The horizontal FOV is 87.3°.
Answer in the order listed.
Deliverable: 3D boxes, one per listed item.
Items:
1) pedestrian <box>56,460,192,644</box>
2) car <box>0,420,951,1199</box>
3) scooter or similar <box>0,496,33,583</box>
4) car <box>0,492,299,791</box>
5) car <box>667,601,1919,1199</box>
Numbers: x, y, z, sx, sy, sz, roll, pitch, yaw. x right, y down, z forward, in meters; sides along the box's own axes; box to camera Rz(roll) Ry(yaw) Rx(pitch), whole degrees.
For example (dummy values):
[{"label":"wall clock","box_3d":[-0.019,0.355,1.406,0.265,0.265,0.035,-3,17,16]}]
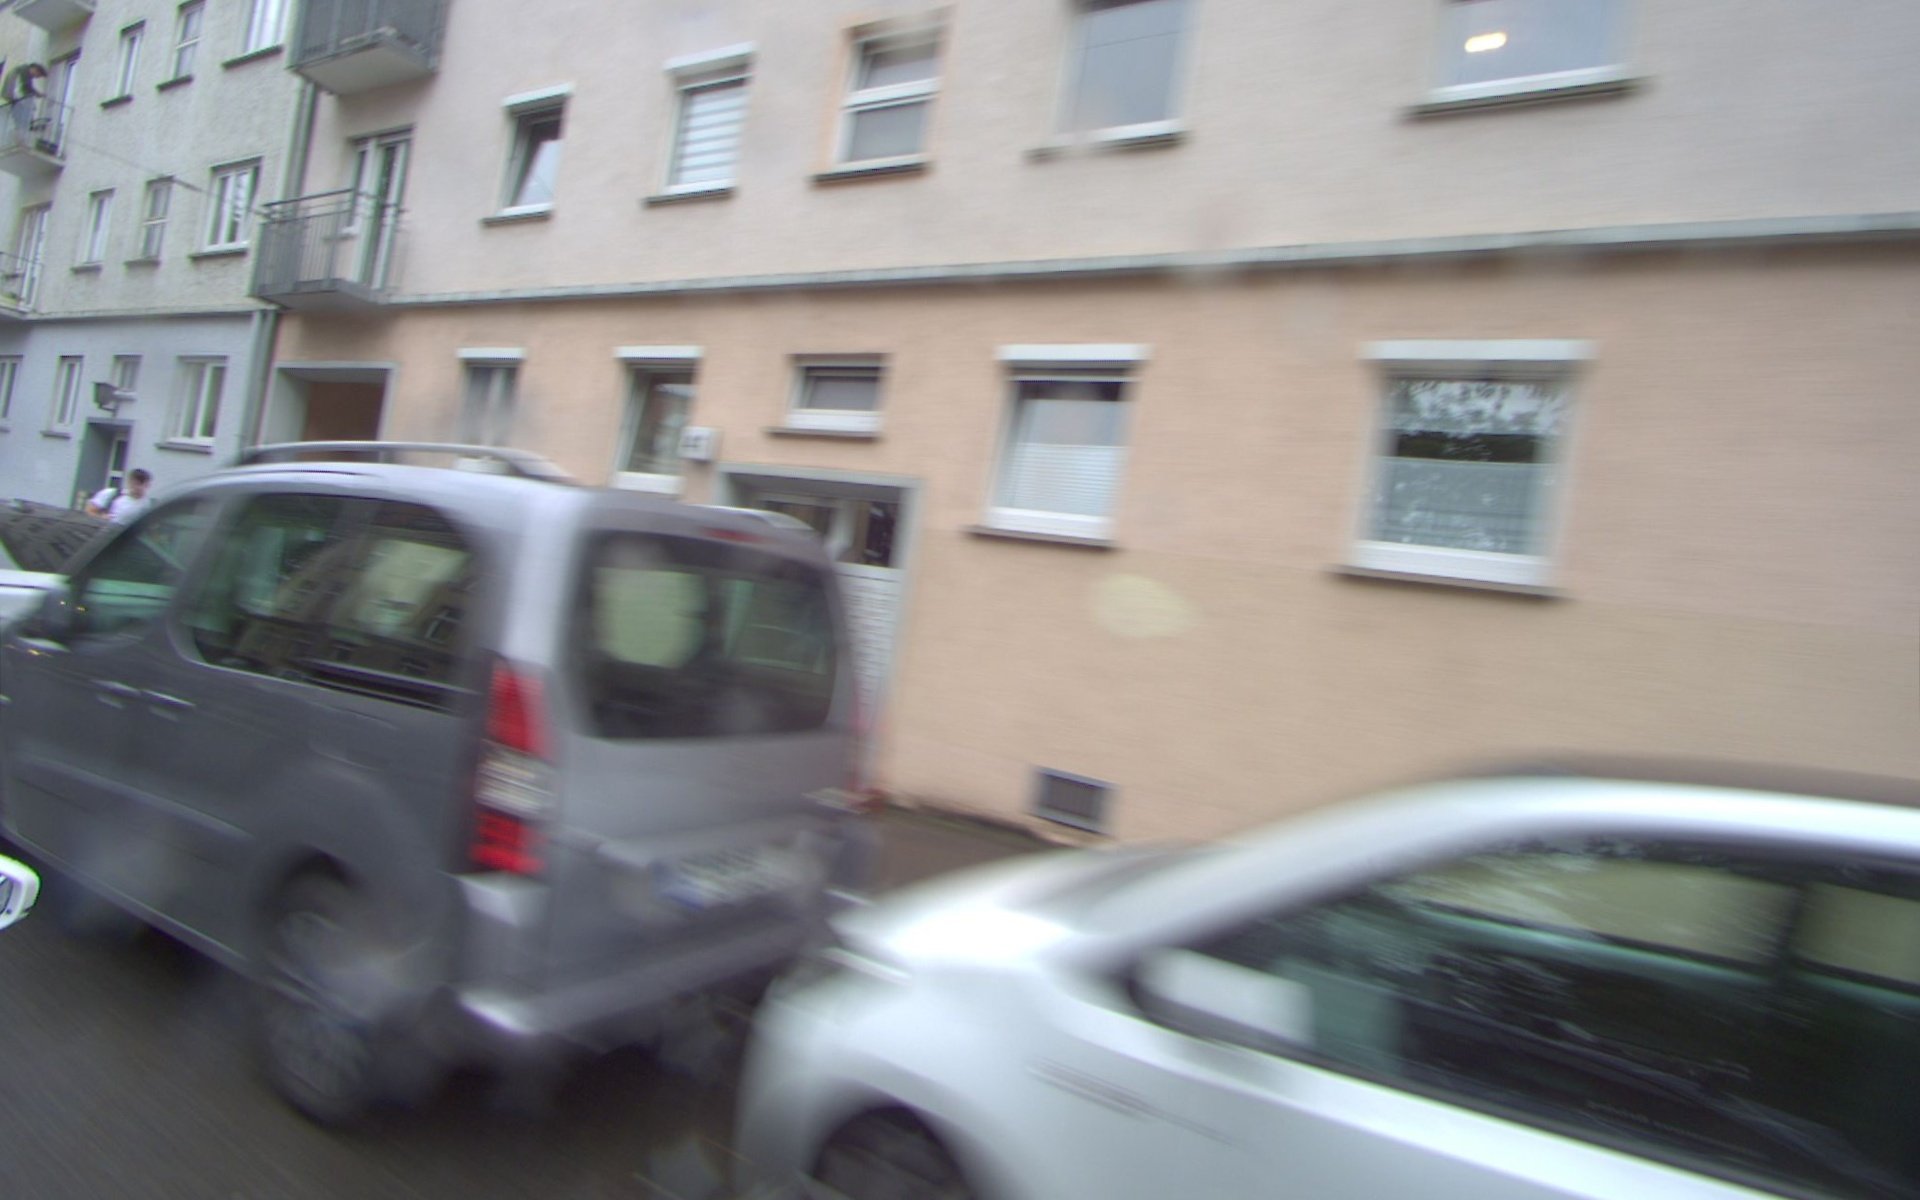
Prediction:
[{"label":"pedestrian","box_3d":[-9.116,-0.520,10.966,1.022,1.857,0.746,7,1,33]},{"label":"car","box_3d":[-2.351,0.390,4.052,4.141,1.786,1.794,7,-1,31]},{"label":"scooter or similar","box_3d":[-15.276,-0.991,15.986,1.152,1.312,0.388,7,-1,32]},{"label":"car","box_3d":[-6.610,-0.001,6.474,4.820,1.472,1.876,7,-2,30]},{"label":"car","box_3d":[1.337,0.984,1.890,3.540,1.479,1.573,7,-2,32]}]
